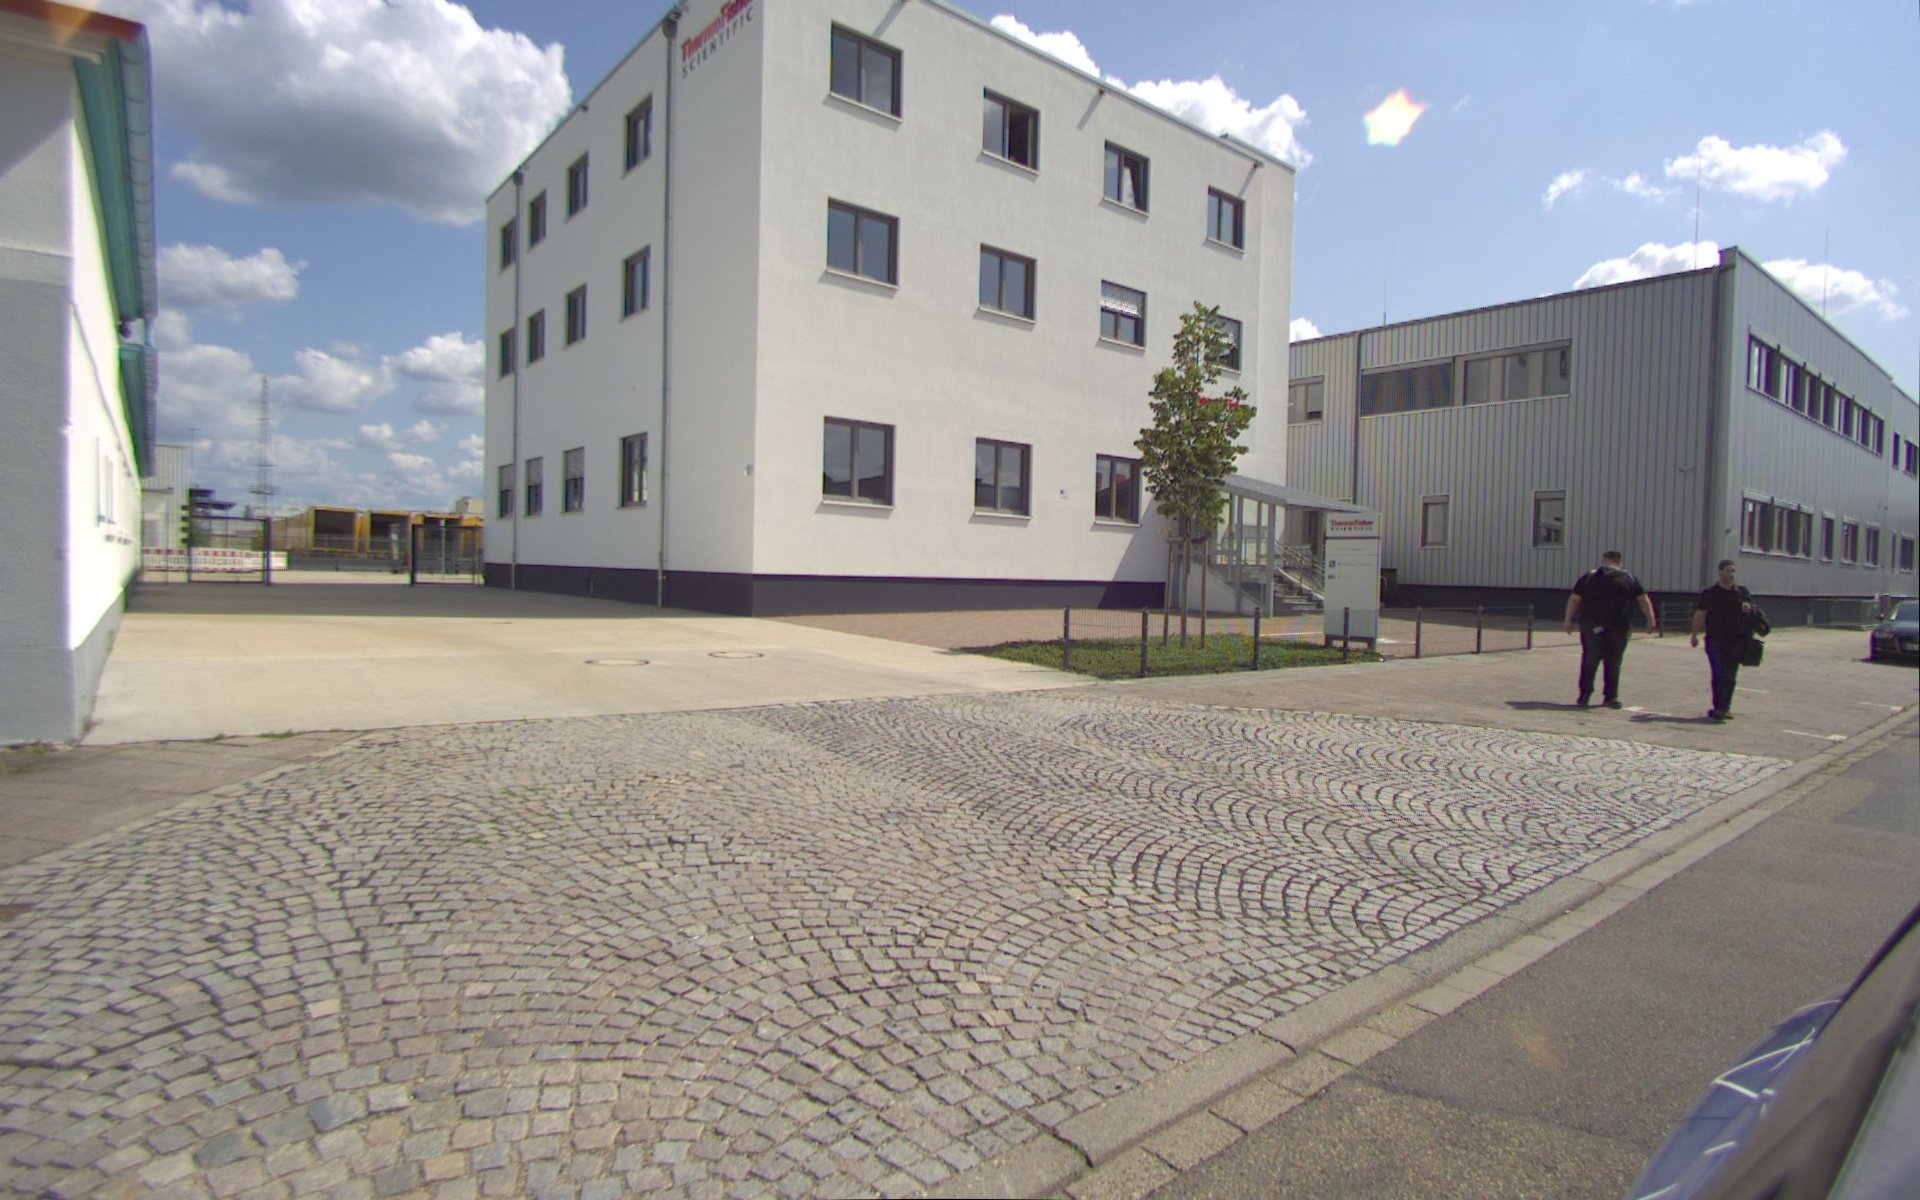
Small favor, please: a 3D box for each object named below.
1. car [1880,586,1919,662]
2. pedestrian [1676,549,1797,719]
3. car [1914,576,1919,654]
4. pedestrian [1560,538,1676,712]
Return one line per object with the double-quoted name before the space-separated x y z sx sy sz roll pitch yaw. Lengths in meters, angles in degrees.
"car" 21.598 0.481 22.099 4.104 1.577 1.662 -1 0 -40
"pedestrian" 8.890 0.353 11.637 0.851 1.829 0.996 3 2 27
"car" 25.848 0.313 25.778 4.377 1.917 1.874 -1 -2 -42
"pedestrian" 7.936 0.259 12.278 0.983 1.975 1.081 3 2 27
